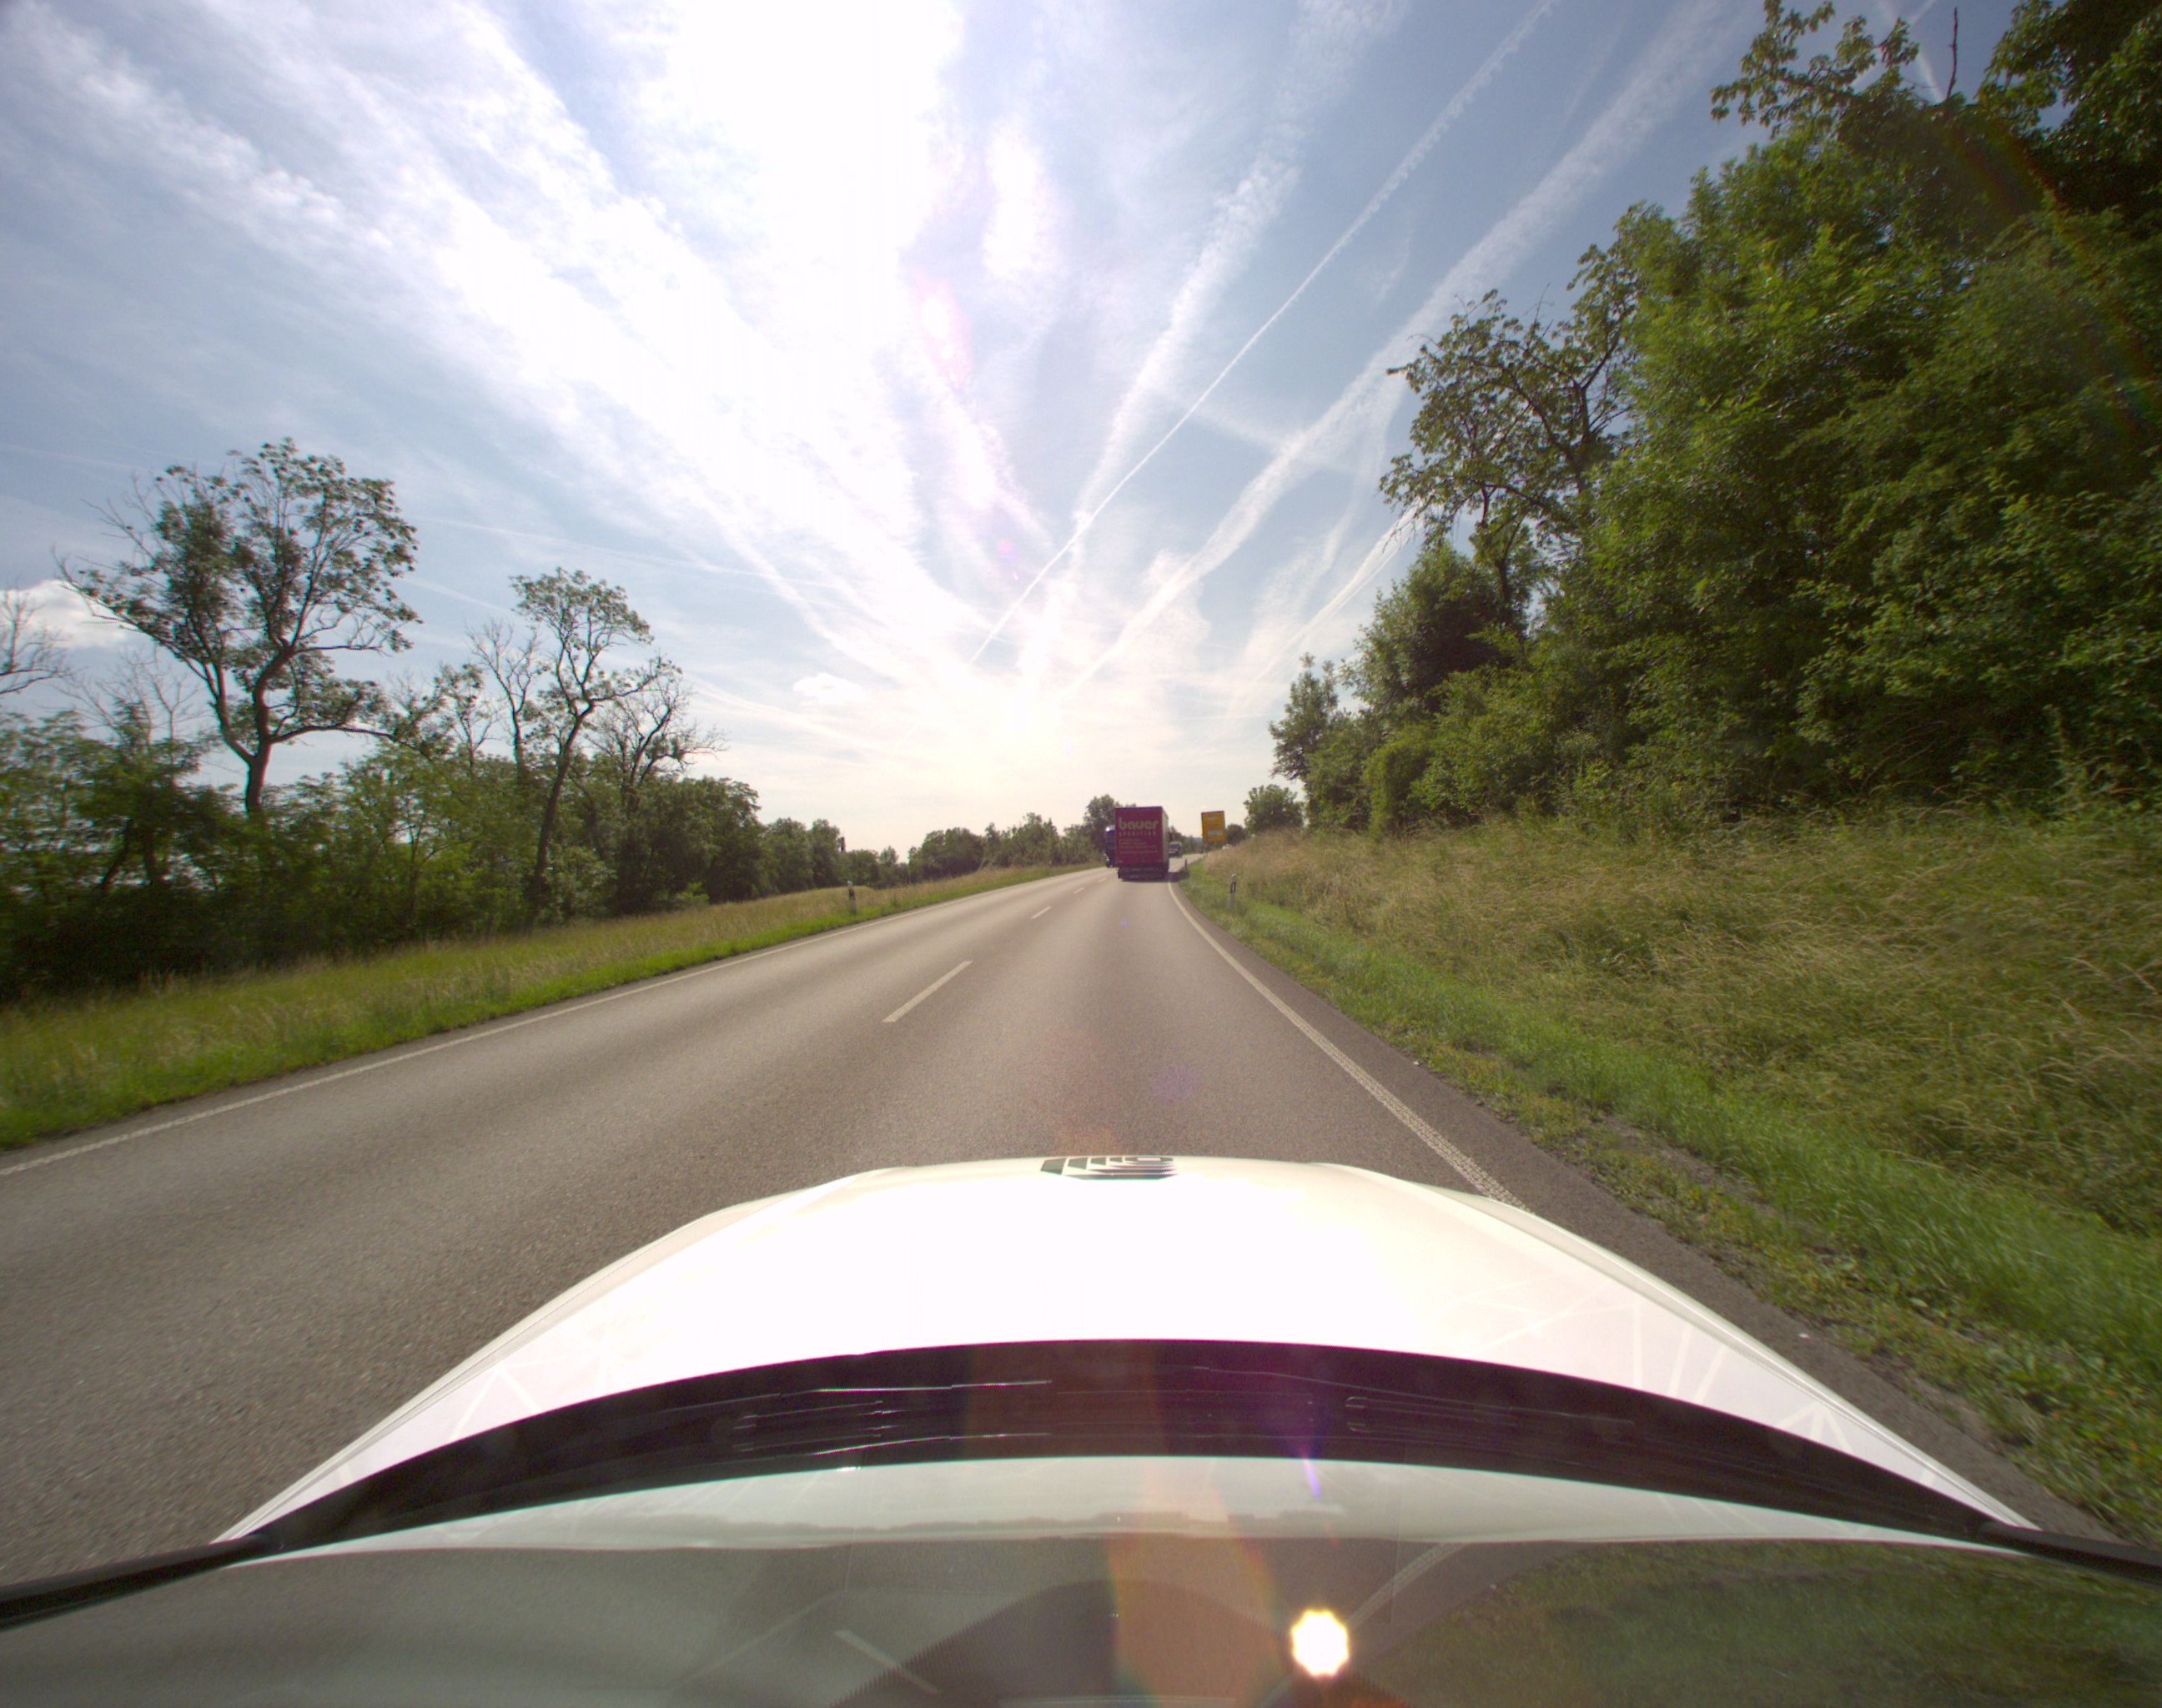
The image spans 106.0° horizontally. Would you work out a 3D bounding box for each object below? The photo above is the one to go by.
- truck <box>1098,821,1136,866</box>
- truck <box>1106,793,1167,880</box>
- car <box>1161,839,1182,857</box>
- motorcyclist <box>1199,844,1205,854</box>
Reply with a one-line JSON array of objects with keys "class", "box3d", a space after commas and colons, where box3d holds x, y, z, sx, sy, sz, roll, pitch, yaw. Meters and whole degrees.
[{"class": "truck", "box3d": [3.453, -0.991, 77.553, 2.790, 4.067, 6.001, -2, 0, 9]}, {"class": "truck", "box3d": [3.567, -0.966, 48.850, 3.096, 4.505, 12.188, -1, 0, 6]}, {"class": "car", "box3d": [13.373, -0.927, 119.986, 2.154, 2.303, 4.927, -6, 0, 15]}, {"class": "motorcyclist", "box3d": [22.163, -0.898, 149.536, 0.911, 1.718, 0.967, -2, 0, 18]}]
